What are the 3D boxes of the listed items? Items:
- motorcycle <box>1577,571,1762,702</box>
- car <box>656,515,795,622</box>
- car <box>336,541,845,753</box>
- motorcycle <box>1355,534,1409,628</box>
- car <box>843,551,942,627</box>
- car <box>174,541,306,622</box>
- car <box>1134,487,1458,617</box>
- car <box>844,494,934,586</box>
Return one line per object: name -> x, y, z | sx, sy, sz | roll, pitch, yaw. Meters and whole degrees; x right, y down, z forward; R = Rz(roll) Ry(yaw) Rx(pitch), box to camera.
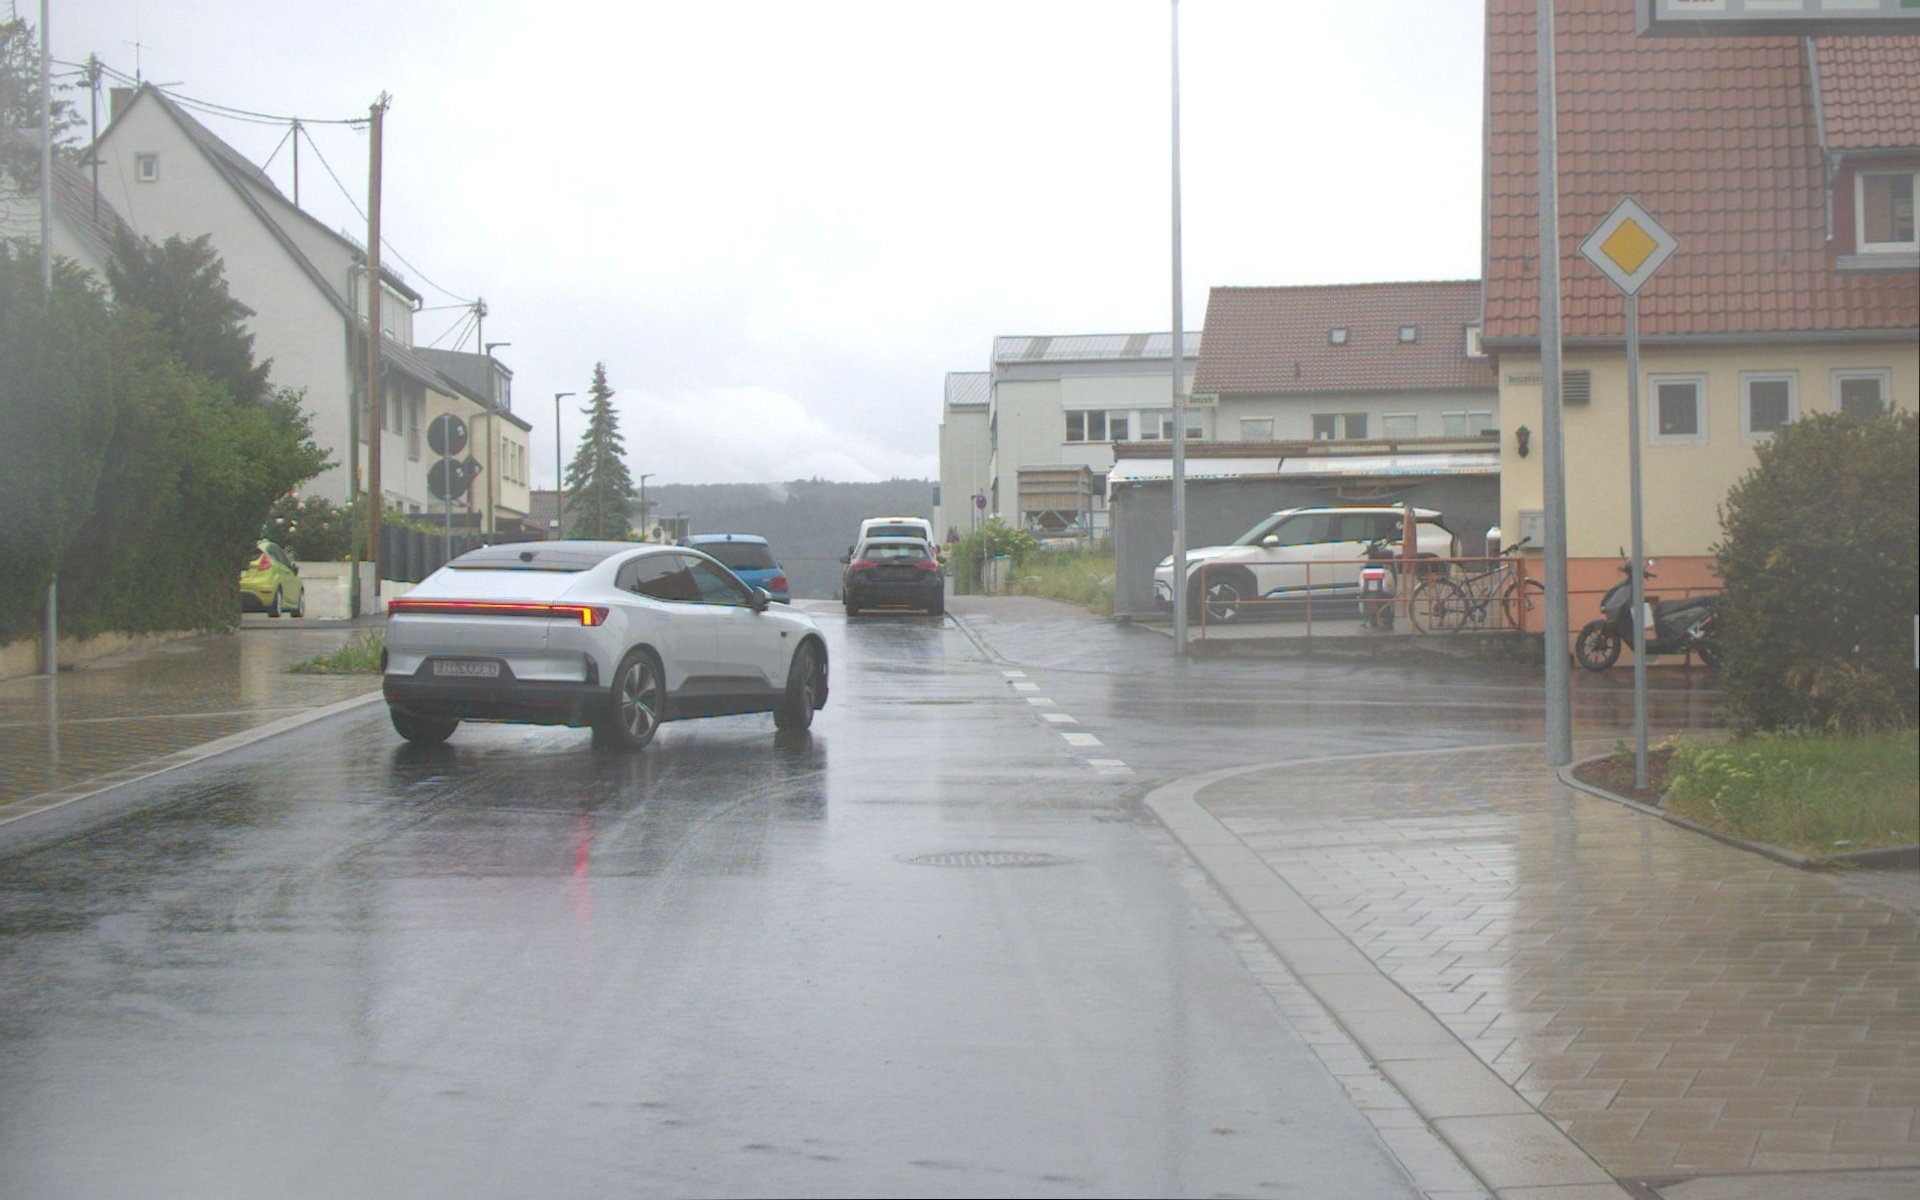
motorcycle -> 8.020, 0.405, 38.915 | 2.034, 1.451, 0.489 | 0, 1, 11
car -> -3.487, -0.488, 51.761 | 1.928, 1.534, 4.321 | 0, 1, -2
car -> -2.761, 0.293, 26.909 | 1.996, 1.497, 4.664 | 0, 1, 22
motorcycle -> 5.167, -0.244, 42.146 | 0.488, 1.092, 2.000 | 0, 2, 2
car -> -1.289, -0.228, 64.144 | 1.768, 1.331, 4.321 | 0, 1, -2
car -> -13.339, -0.341, 63.892 | 1.778, 1.462, 3.457 | 0, 0, -1
car -> 4.664, -0.664, 48.068 | 4.216, 1.604, 1.861 | -2, 1, -3
car -> -1.494, -1.241, 70.817 | 1.768, 1.819, 4.575 | 0, 1, -2
